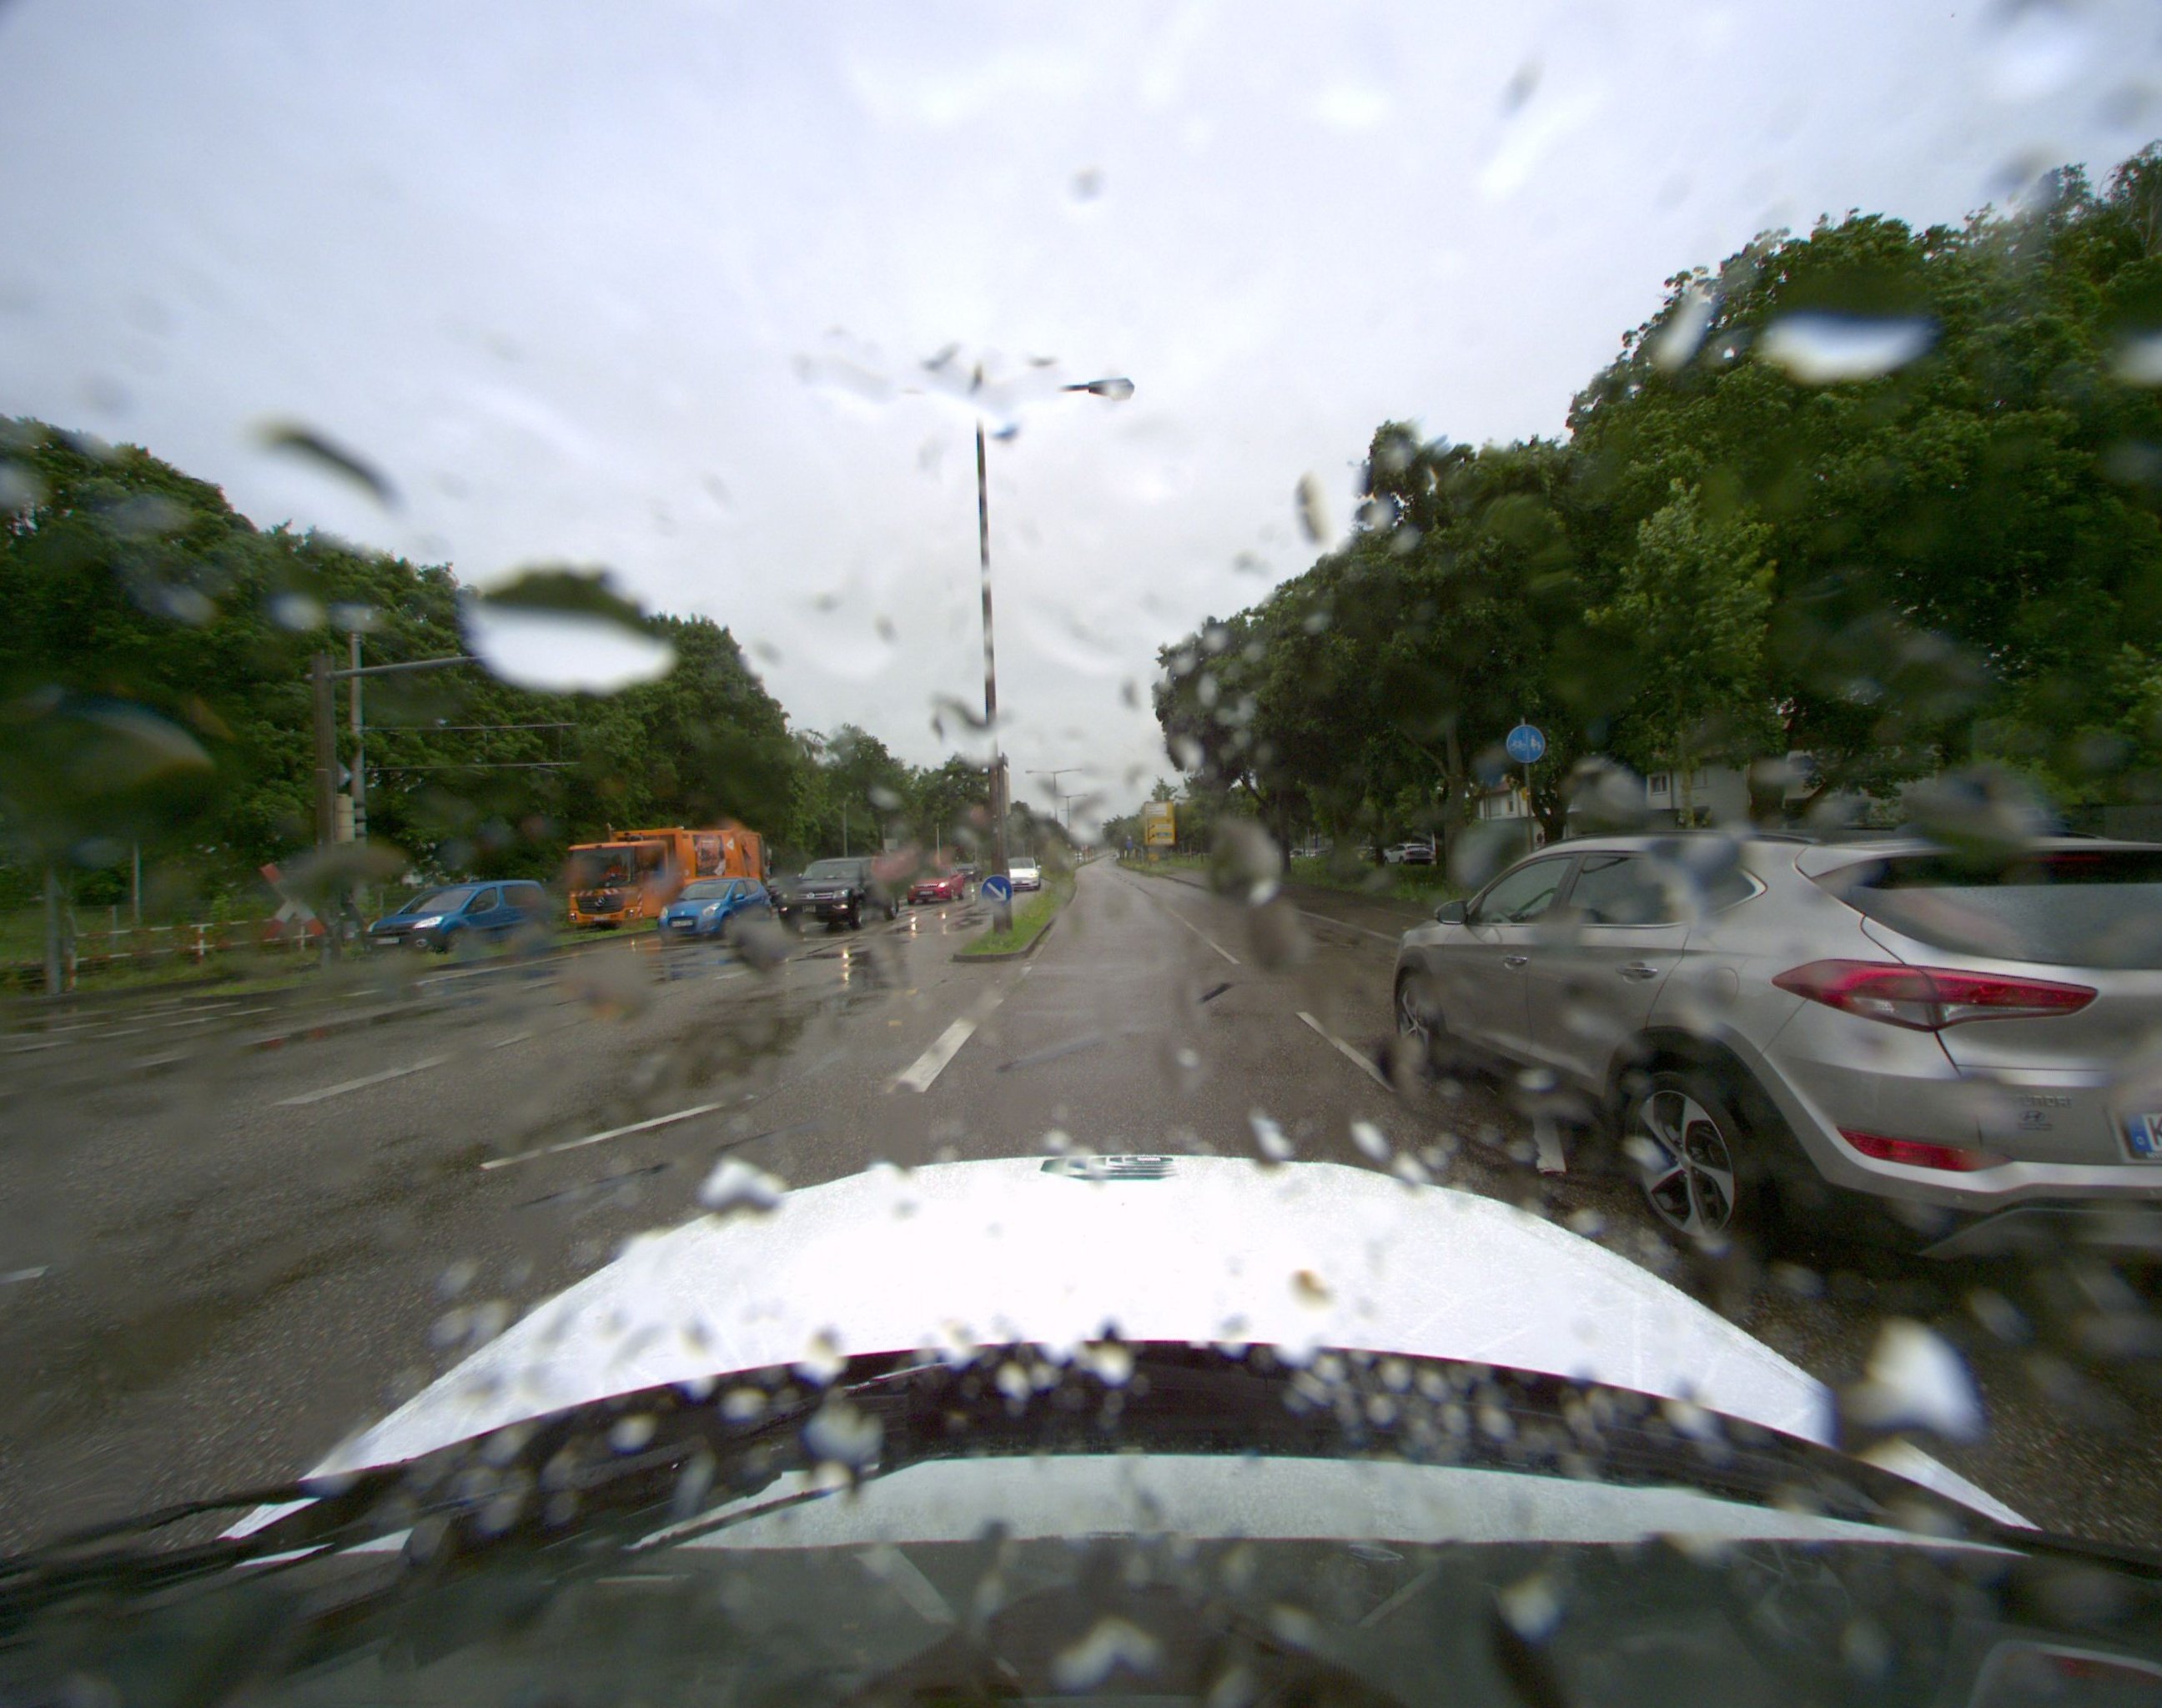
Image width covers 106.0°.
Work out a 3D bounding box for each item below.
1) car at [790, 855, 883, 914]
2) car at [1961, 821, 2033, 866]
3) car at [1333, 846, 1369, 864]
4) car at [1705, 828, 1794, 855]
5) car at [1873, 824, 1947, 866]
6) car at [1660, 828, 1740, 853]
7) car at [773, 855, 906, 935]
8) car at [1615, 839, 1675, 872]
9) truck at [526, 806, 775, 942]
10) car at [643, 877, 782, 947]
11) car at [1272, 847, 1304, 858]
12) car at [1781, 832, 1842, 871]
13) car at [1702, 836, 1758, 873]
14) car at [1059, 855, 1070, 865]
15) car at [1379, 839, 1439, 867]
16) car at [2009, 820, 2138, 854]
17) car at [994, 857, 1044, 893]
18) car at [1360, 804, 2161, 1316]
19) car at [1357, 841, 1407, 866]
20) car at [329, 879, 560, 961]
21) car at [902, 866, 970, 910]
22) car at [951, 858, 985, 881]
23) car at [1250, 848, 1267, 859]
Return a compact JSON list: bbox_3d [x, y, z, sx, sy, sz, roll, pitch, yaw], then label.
[{"bbox_3d":[-9.261,1.102,31.341,1.921,2.018,4.745,-2,0,2],"label":"car"},{"bbox_3d":[31.981,-0.329,28.431,3.772,1.449,1.584,0,-1,-41],"label":"car"},{"bbox_3d":[22.550,0.118,68.223,1.632,1.486,4.072,0,-1,0],"label":"car"},{"bbox_3d":[36.354,-0.659,44.437,1.578,1.385,3.999,0,-1,0],"label":"car"},{"bbox_3d":[30.656,-0.304,30.080,3.772,1.449,1.650,0,-1,-41],"label":"car"},{"bbox_3d":[34.124,-0.718,44.990,1.567,1.316,3.700,-1,-1,-1],"label":"car"},{"bbox_3d":[-6.237,0.973,21.749,1.799,1.773,5.091,-3,0,2],"label":"car"},{"bbox_3d":[24.642,0.068,35.528,3.408,1.352,1.506,0,-1,-44],"label":"car"},{"bbox_3d":[-15.181,0.666,30.203,3.372,4.167,10.411,0,-1,2],"label":"truck"},{"bbox_3d":[-9.226,1.394,20.782,1.636,1.427,3.999,-4,-1,0],"label":"car"},{"bbox_3d":[32.071,-0.168,126.267,4.560,1.645,1.997,0,-1,-4],"label":"car"},{"bbox_3d":[28.753,-0.086,32.128,1.648,1.449,3.775,-1,-1,40],"label":"car"},{"bbox_3d":[26.712,0.035,33.476,1.648,1.449,3.775,-1,-1,40],"label":"car"},{"bbox_3d":[-3.067,1.075,151.482,1.737,1.650,4.137,-4,0,1],"label":"car"},{"bbox_3d":[22.008,-0.051,54.838,1.987,1.717,4.877,-3,-1,0],"label":"car"},{"bbox_3d":[45.309,-0.766,37.236,3.978,1.456,1.734,0,-1,-3],"label":"car"},{"bbox_3d":[-3.069,1.020,41.149,1.954,1.617,4.699,-2,0,2],"label":"car"},{"bbox_3d":[3.228,0.674,4.700,1.877,1.610,4.197,-1,-1,2],"label":"car"},{"bbox_3d":[22.273,0.001,60.459,1.987,1.717,4.640,-3,-1,0],"label":"car"},{"bbox_3d":[-15.483,1.523,20.219,1.985,1.709,4.530,0,-1,3],"label":"car"},{"bbox_3d":[-5.832,1.341,33.299,1.794,1.569,4.429,-4,-1,1],"label":"car"},{"bbox_3d":[-9.077,1.232,65.579,1.699,1.641,4.336,-4,0,4],"label":"car"},{"bbox_3d":[24.504,-0.076,112.530,1.737,1.445,4.127,-3,1,4],"label":"car"}]
